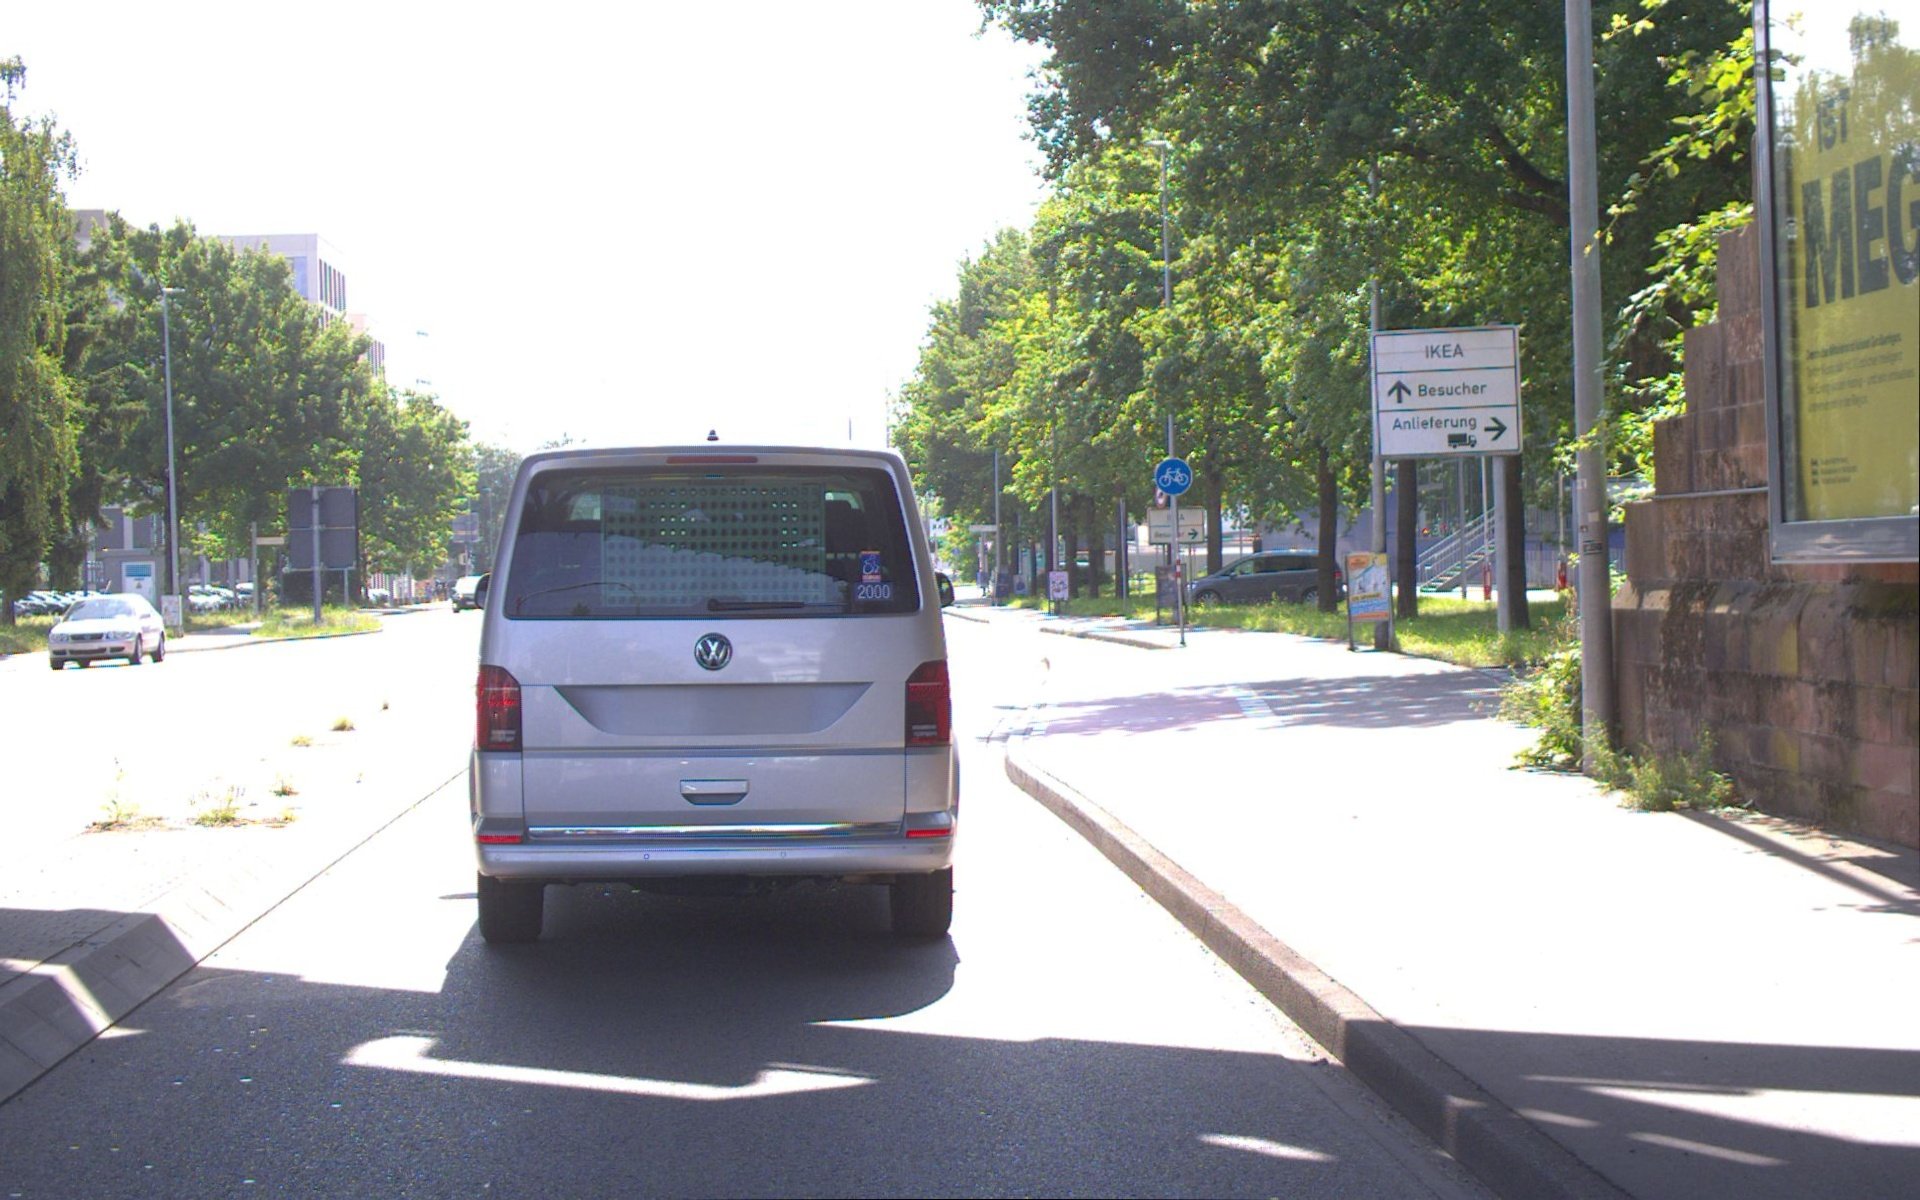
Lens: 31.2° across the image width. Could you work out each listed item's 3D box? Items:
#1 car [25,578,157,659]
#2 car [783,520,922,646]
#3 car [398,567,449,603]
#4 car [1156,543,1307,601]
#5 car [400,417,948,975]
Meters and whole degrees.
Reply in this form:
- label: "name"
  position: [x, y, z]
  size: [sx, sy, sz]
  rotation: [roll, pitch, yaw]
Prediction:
- label: "car"
  position: [-17.073, 0.340, 67.679]
  size: [1.968, 1.487, 4.083]
  rotation: [-2, 1, -7]
- label: "car"
  position: [-1.788, -0.295, 55.784]
  size: [1.968, 1.918, 4.561]
  rotation: [-1, 1, -5]
- label: "car"
  position: [-22.929, -0.651, 146.951]
  size: [1.968, 1.487, 4.083]
  rotation: [-2, 1, -7]
- label: "car"
  position: [7.182, -0.743, 91.184]
  size: [3.799, 1.411, 1.702]
  rotation: [-1, 1, -2]
- label: "car"
  position: [-1.329, 0.331, 14.726]
  size: [1.941, 1.965, 5.023]
  rotation: [0, 0, -7]
